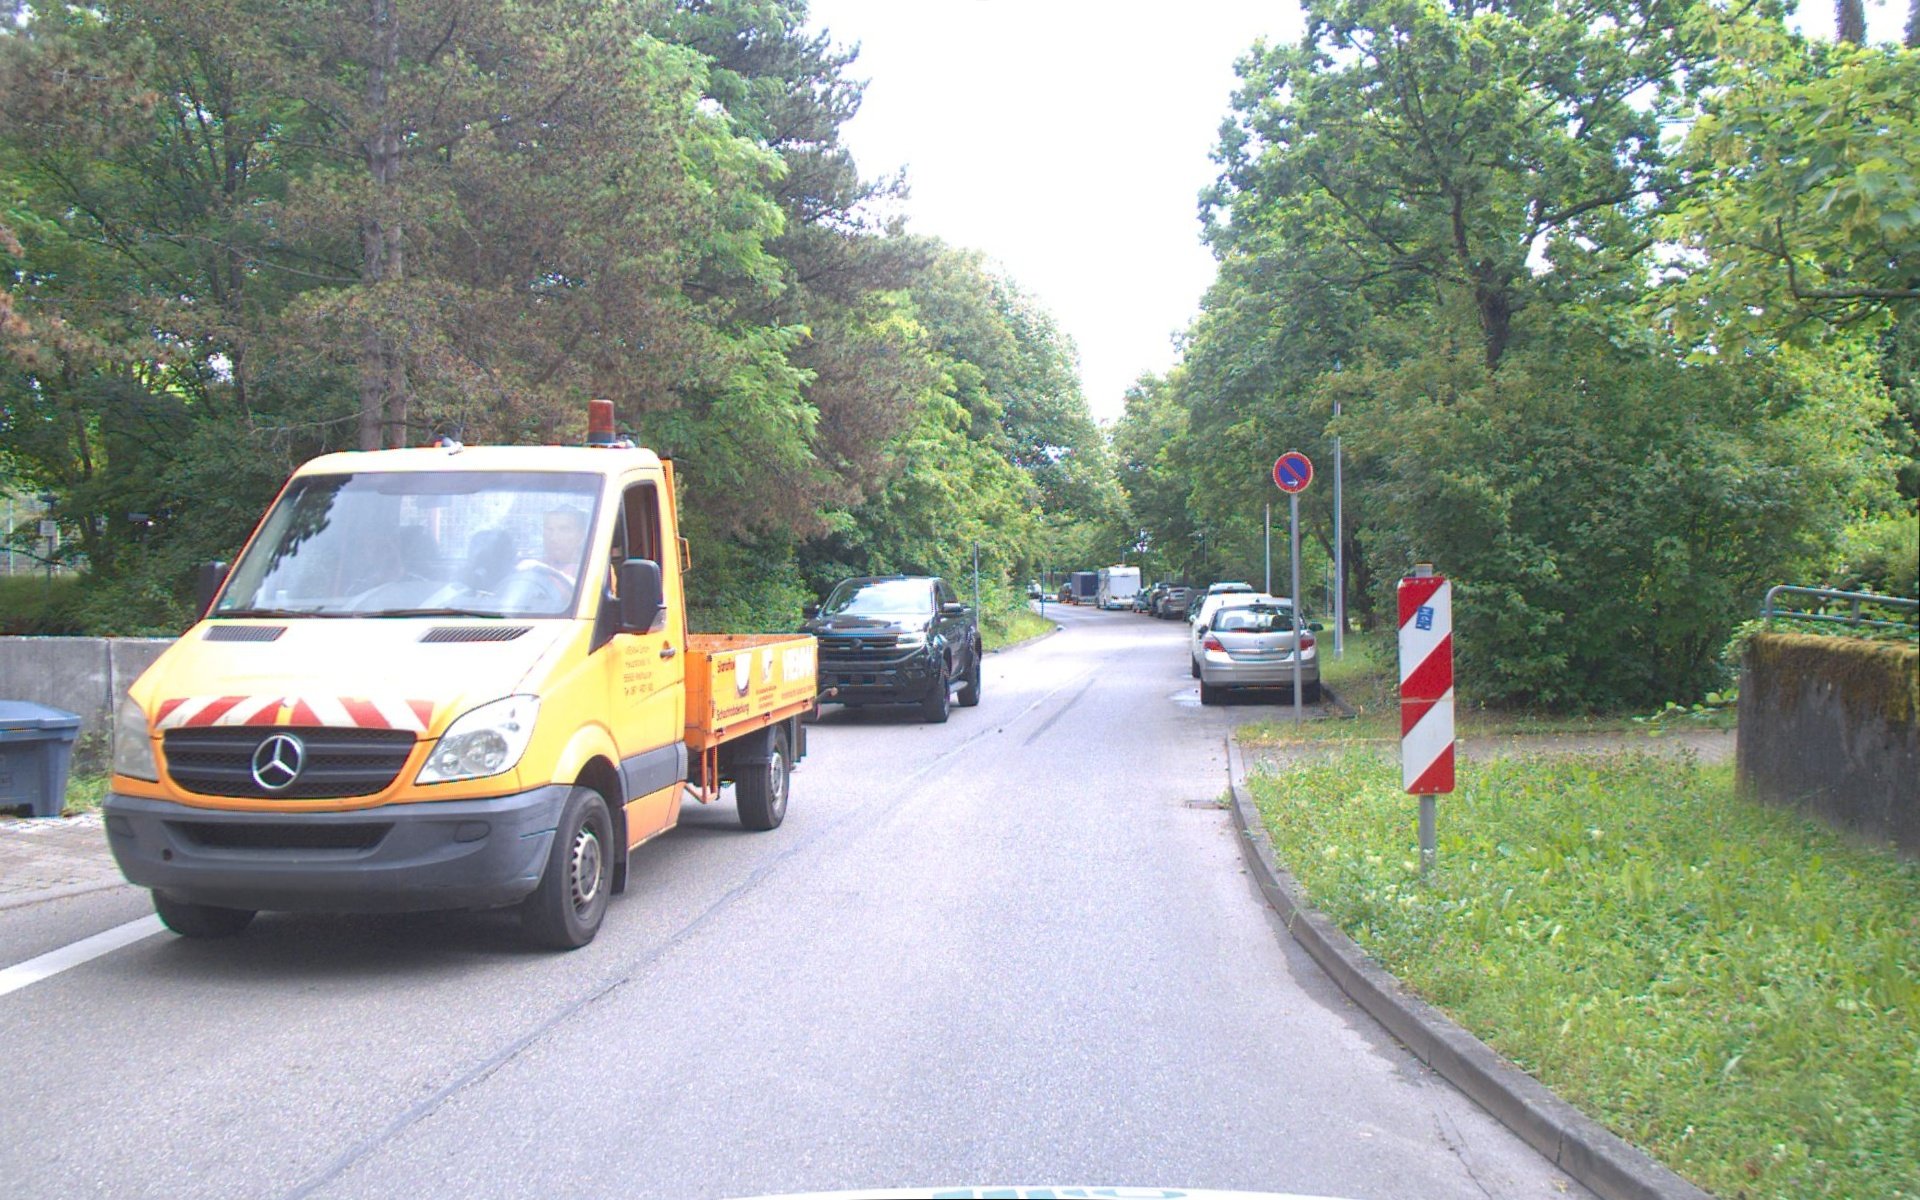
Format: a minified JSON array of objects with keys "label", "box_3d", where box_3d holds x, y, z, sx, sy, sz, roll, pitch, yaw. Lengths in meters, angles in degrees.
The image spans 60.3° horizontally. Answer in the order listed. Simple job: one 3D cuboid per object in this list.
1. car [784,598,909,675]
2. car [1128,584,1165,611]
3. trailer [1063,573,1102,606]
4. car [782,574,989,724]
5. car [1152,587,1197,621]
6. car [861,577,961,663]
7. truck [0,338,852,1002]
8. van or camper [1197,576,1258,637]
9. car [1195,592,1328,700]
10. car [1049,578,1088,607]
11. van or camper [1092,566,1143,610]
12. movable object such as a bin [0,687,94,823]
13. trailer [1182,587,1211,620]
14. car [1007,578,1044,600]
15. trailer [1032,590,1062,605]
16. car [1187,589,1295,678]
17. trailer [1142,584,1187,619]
[{"label":"car","box_3d":[-2.274,0.703,34.280,1.767,1.427,4.375,1,0,7]},{"label":"car","box_3d":[11.829,-0.188,104.953,1.763,1.589,3.834,-2,1,-2]},{"label":"trailer","box_3d":[9.305,-0.806,126.129,1.958,2.440,3.988,-1,0,-12]},{"label":"car","box_3d":[-0.853,0.590,22.374,1.951,1.766,5.340,-1,0,6]},{"label":"car","box_3d":[11.536,0.228,89.181,1.756,1.699,4.500,-1,-1,-1]},{"label":"car","box_3d":[-1.147,0.441,40.807,1.684,1.955,4.108,1,1,10]},{"label":"truck","box_3d":[-2.315,0.212,9.391,2.273,2.513,6.025,1,1,7]},{"label":"van or camper","box_3d":[8.561,0.255,53.231,1.763,1.870,4.323,-1,-1,7]},{"label":"car","box_3d":[4.424,0.626,24.540,1.754,1.435,4.062,-2,0,9]},{"label":"car","box_3d":[8.598,-0.631,131.595,1.959,2.060,3.988,-4,3,-13]},{"label":"van or camper","box_3d":[10.928,-0.856,115.339,2.433,2.926,6.884,-1,0,-4]},{"label":"movable object such as a bin","box_3d":[-6.083,0.952,10.351,1.131,0.773,1.039,2,-1,-30]},{"label":"trailer","box_3d":[11.832,0.174,82.868,1.252,1.612,2.461,-1,0,3]},{"label":"car","box_3d":[5.731,-0.943,144.679,2.003,1.835,4.063,-2,1,-17]},{"label":"trailer","box_3d":[7.097,-0.208,135.473,1.622,1.105,3.991,-3,1,-9]},{"label":"car","box_3d":[5.335,0.583,31.935,1.846,1.533,5.180,-1,0,8]},{"label":"trailer","box_3d":[11.764,0.046,95.577,1.938,1.843,5.149,-2,1,0]}]
